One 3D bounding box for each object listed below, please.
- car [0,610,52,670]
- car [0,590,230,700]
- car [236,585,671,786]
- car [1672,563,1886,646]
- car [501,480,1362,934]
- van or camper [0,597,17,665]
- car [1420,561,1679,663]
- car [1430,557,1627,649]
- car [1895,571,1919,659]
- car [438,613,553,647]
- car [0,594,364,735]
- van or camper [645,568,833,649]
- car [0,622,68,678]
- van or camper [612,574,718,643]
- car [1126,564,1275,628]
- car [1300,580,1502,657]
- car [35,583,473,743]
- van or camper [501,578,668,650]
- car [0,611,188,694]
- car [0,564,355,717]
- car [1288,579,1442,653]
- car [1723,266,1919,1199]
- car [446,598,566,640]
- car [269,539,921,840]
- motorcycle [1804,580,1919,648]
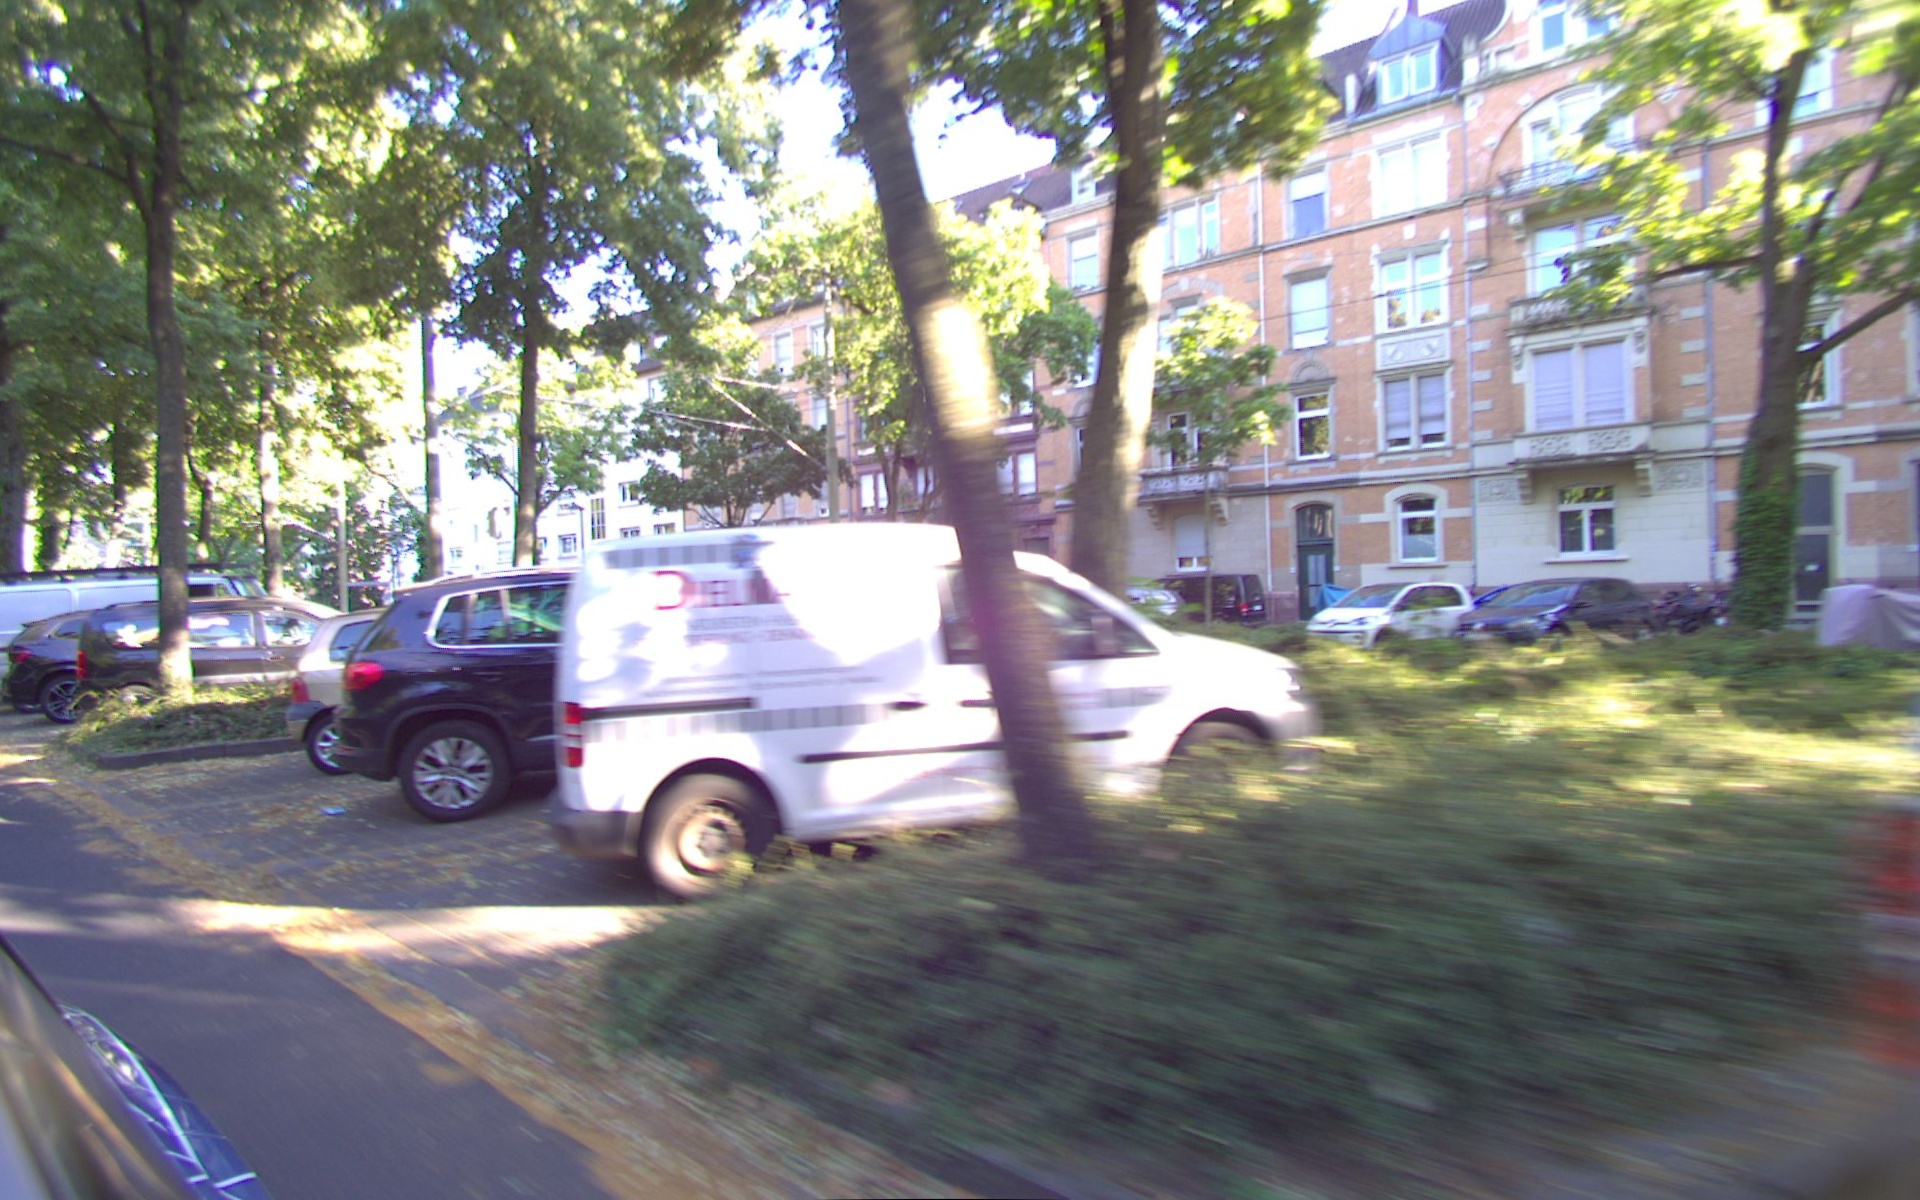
[{"bbox_3d":[-34.964,1.523,34.967,4.803,1.992,2.052,-4,2,-22],"label":"car"},{"bbox_3d":[-18.722,0.944,21.579,4.634,1.957,1.941,-4,2,-17],"label":"car"},{"bbox_3d":[-4.653,0.692,9.805,3.369,1.436,1.840,-4,2,-19],"label":"car"},{"bbox_3d":[17.975,0.115,22.409,3.503,1.594,1.834,-3,2,38],"label":"car"},{"bbox_3d":[-0.147,0.395,5.761,4.092,1.794,1.889,-4,2,-13],"label":"car"},{"bbox_3d":[-37.825,1.322,36.672,4.802,2.488,2.052,-4,2,-24],"label":"van or camper"},{"bbox_3d":[10.380,0.177,17.835,3.931,1.590,2.007,-1,0,-25],"label":"car"},{"bbox_3d":[14.201,0.087,25.342,3.994,2.028,1.975,-3,2,38],"label":"car"},{"bbox_3d":[21.352,0.247,20.000,3.994,1.789,1.777,-2,-1,38],"label":"car"},{"bbox_3d":[-19.722,1.292,43.201,4.250,1.395,1.912,1,-2,-18],"label":"car"},{"bbox_3d":[-11.934,0.889,15.658,4.442,1.628,1.941,-5,3,-26],"label":"car"},{"bbox_3d":[-7.038,0.238,32.169,5.455,2.389,2.315,-1,-1,-23],"label":"van or camper"},{"bbox_3d":[-28.411,1.540,29.009,3.760,1.449,1.831,-4,2,-16],"label":"car"},{"bbox_3d":[-14.121,0.485,48.304,5.507,3.133,2.054,-2,-3,38],"label":"van or camper"},{"bbox_3d":[7.298,-0.058,30.904,4.018,1.796,1.833,-2,-2,38],"label":"car"},{"bbox_3d":[8.674,0.322,19.846,3.932,1.327,1.599,-2,0,-30],"label":"car"},{"bbox_3d":[-9.239,0.734,13.742,4.443,1.628,1.860,-4,2,-18],"label":"car"},{"bbox_3d":[-13.846,0.488,37.388,5.579,2.487,2.006,-1,-1,-26],"label":"van or camper"},{"bbox_3d":[-20.885,1.224,23.285,4.494,1.552,1.941,-4,2,-17],"label":"car"},{"bbox_3d":[-13.954,0.638,17.651,5.420,2.152,2.088,-5,2,-20],"label":"car"},{"bbox_3d":[11.106,0.462,27.819,3.503,1.796,1.834,-3,2,38],"label":"car"},{"bbox_3d":[3.764,0.323,1.437,4.916,1.794,1.994,-5,2,-22],"label":"car"},{"bbox_3d":[-18.436,0.769,41.302,4.250,1.594,1.912,-1,-1,-18],"label":"car"},{"bbox_3d":[-2.575,0.511,7.826,4.090,1.656,1.921,-4,2,-17],"label":"car"},{"bbox_3d":[13.333,0.181,14.419,1.944,0.895,1.023,-2,0,-14],"label":"motorcycle"}]
